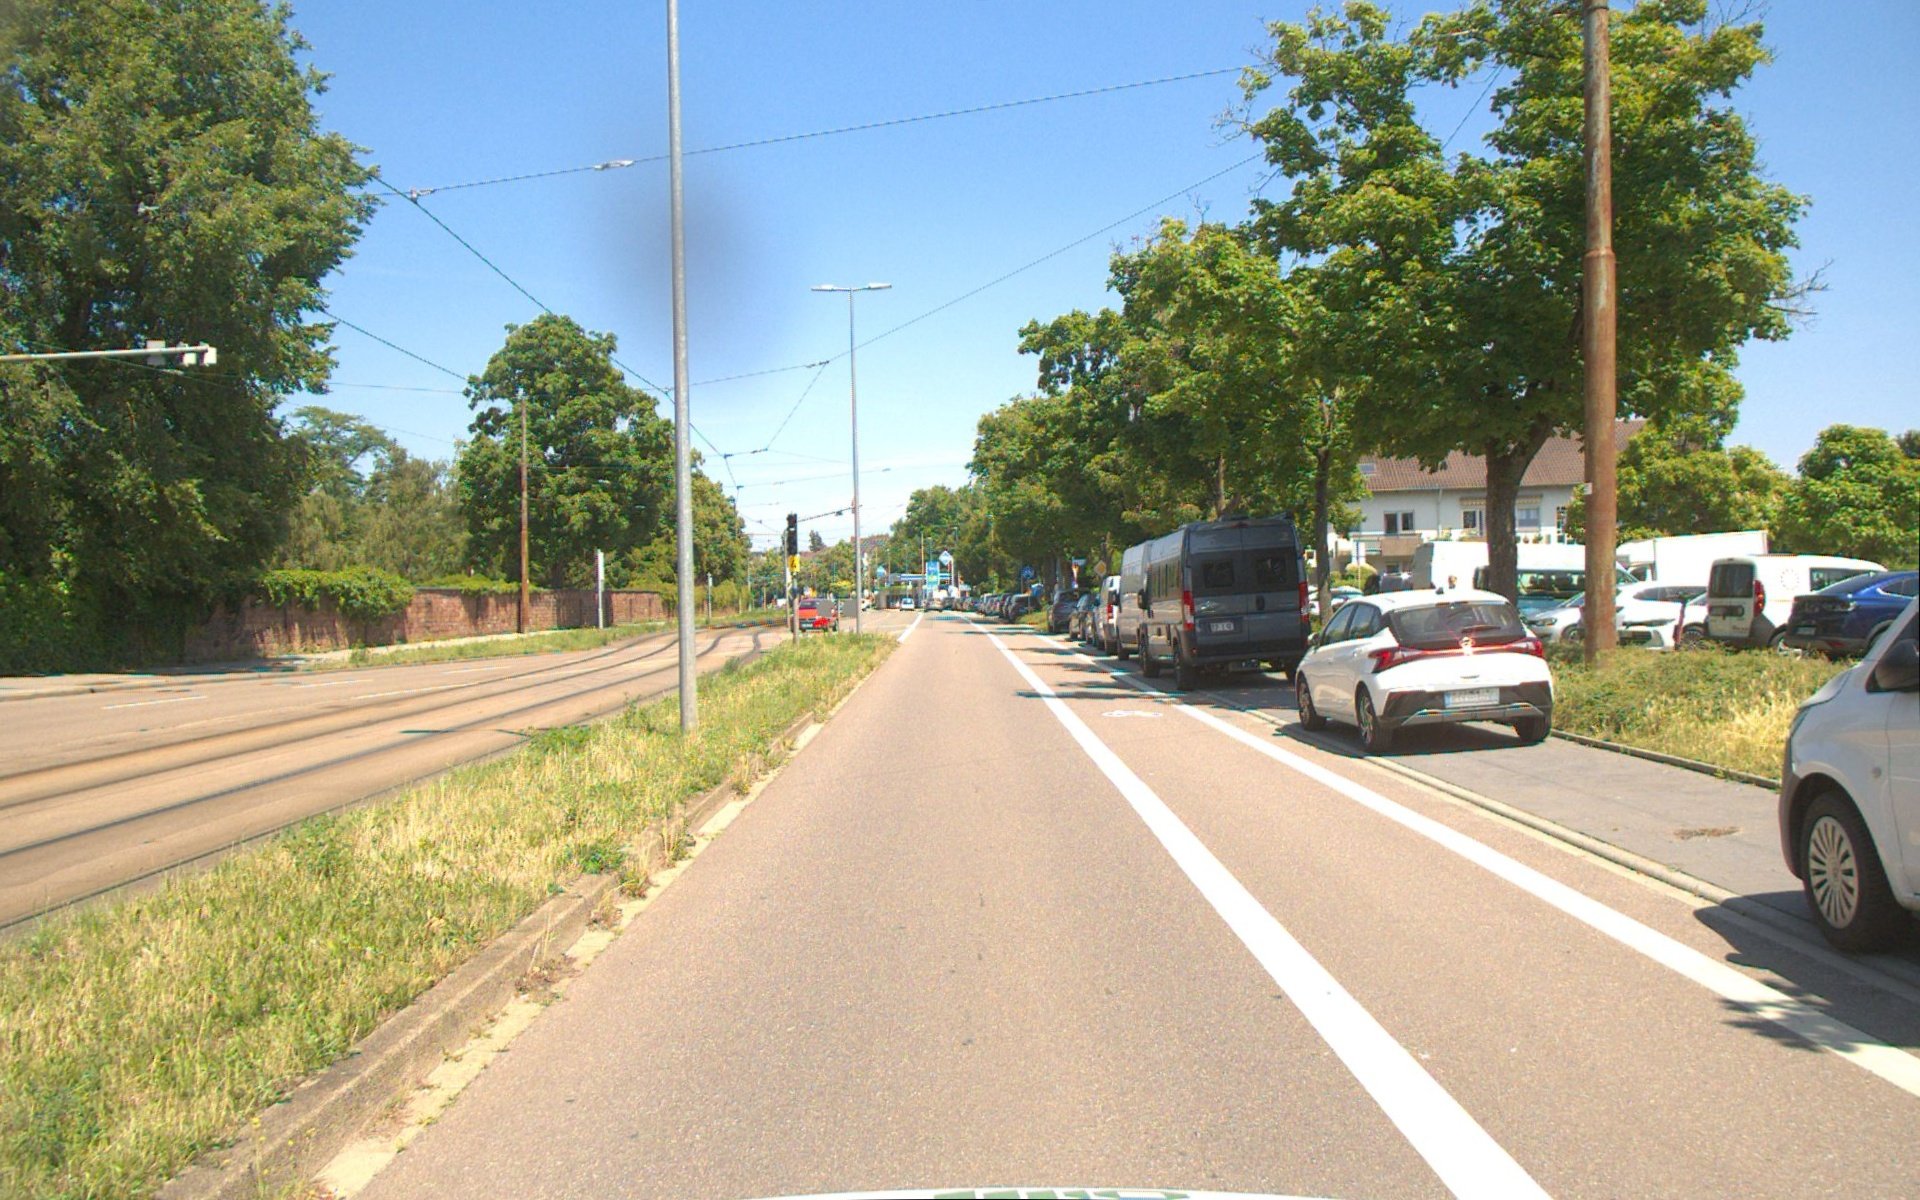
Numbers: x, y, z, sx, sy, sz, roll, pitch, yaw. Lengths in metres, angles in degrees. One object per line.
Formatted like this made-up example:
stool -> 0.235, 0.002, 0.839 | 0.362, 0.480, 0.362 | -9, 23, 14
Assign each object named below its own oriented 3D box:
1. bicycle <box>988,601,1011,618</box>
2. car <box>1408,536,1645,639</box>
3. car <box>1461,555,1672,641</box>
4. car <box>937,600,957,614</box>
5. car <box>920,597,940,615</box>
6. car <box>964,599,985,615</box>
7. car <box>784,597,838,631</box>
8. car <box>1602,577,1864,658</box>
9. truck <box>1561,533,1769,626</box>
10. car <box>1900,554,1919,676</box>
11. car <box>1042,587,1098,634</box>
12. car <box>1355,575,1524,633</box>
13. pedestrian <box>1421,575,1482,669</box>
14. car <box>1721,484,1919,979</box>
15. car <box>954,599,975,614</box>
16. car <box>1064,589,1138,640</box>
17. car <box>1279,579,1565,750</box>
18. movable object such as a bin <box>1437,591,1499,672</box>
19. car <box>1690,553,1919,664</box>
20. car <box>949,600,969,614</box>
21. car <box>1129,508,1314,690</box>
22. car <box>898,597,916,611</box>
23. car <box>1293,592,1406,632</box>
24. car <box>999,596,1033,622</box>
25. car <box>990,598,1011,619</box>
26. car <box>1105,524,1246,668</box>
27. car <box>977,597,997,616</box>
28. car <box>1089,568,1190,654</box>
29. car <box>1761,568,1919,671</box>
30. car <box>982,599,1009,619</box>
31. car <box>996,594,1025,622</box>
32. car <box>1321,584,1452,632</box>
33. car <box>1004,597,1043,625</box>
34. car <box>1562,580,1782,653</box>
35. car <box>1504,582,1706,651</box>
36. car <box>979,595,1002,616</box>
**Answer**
bicycle -> 3.189, 0.768, 133.787 | 1.737, 1.249, 0.684 | -6, -1, 3
car -> 14.489, -0.302, 42.526 | 5.378, 2.502, 2.094 | 1, 0, 0
car -> 14.464, -0.032, 39.586 | 4.320, 1.942, 1.952 | 1, 0, -5
car -> -1.648, 0.849, 205.822 | 1.724, 1.659, 4.313 | -4, 0, -10
car -> -3.024, 0.603, 168.059 | 1.721, 1.659, 4.320 | -4, 0, -4
car -> 1.548, 0.756, 178.818 | 1.674, 1.518, 5.033 | -4, 0, -5
car -> -6.632, 0.611, 73.952 | 1.670, 1.438, 4.284 | -1, 0, 4
car -> 14.641, 0.322, 31.444 | 4.191, 1.430, 1.727 | 1, 0, -3
truck -> 26.838, -0.771, 63.110 | 6.807, 3.138, 2.424 | -3, 0, -2
car -> 15.373, 0.239, 23.287 | 3.303, 1.747, 1.728 | 1, 0, -1
car -> 4.273, 0.438, 64.688 | 1.678, 1.661, 4.707 | -4, -1, -1
car -> 14.589, 0.117, 50.476 | 4.596, 1.673, 1.954 | 1, 0, 0
pedestrian -> 8.855, 0.390, 29.818 | 0.789, 1.653, 0.943 | -1, 0, -1
car -> 4.658, 0.469, 5.431 | 1.841, 1.950, 5.124 | -4, 0, 0
car -> 0.501, 0.793, 189.977 | 1.676, 1.589, 4.313 | -4, 0, -10
car -> 4.455, 0.445, 52.793 | 1.678, 1.443, 4.706 | -4, 0, -3
car -> 4.619, 0.588, 17.185 | 1.687, 1.452, 4.208 | -3, 0, -1
movable object such as a bin -> 8.868, 0.535, 28.901 | 0.776, 1.376, 0.889 | -1, 0, -1
car -> 14.891, 0.148, 28.577 | 3.705, 1.815, 1.952 | 1, 0, -5
car -> -0.113, 0.825, 195.879 | 1.675, 1.589, 4.315 | -4, 0, -9
car -> 4.333, -0.025, 28.451 | 1.957, 2.682, 6.077 | -4, 0, -1
car -> -6.746, 0.493, 211.487 | 1.723, 1.659, 4.315 | -4, 0, -8
car -> 14.374, 0.440, 61.147 | 3.781, 1.381, 1.770 | 1, 0, 0
car -> 3.636, 0.563, 108.280 | 1.804, 1.556, 4.350 | -4, 0, -3
car -> 3.305, 0.703, 135.828 | 1.488, 1.556, 3.816 | -4, 0, -1
car -> 4.481, -0.091, 35.390 | 1.957, 2.682, 6.141 | -4, 0, -1
car -> 2.633, 0.643, 161.986 | 1.803, 1.723, 4.777 | -4, 0, -1
car -> 4.488, 0.248, 42.090 | 1.957, 1.911, 5.276 | -4, 0, 1
car -> 15.201, 0.324, 25.990 | 4.319, 1.532, 1.953 | 1, 0, -4
car -> 2.999, 0.725, 140.830 | 1.804, 1.556, 4.962 | -4, 0, -4
car -> 3.459, 0.519, 113.913 | 1.803, 1.736, 4.626 | -4, 0, 0
car -> 14.360, 0.265, 55.833 | 3.940, 1.517, 1.769 | 1, 0, -3
car -> 3.680, 0.601, 96.314 | 1.804, 1.461, 4.822 | -4, 0, -3
car -> 14.719, 0.339, 34.305 | 3.809, 1.430, 1.727 | 1, 0, -3
car -> 14.246, 0.360, 36.617 | 3.811, 1.430, 1.726 | 1, 0, -6
car -> 2.873, 0.470, 155.807 | 1.804, 1.825, 4.351 | -4, 0, -2
